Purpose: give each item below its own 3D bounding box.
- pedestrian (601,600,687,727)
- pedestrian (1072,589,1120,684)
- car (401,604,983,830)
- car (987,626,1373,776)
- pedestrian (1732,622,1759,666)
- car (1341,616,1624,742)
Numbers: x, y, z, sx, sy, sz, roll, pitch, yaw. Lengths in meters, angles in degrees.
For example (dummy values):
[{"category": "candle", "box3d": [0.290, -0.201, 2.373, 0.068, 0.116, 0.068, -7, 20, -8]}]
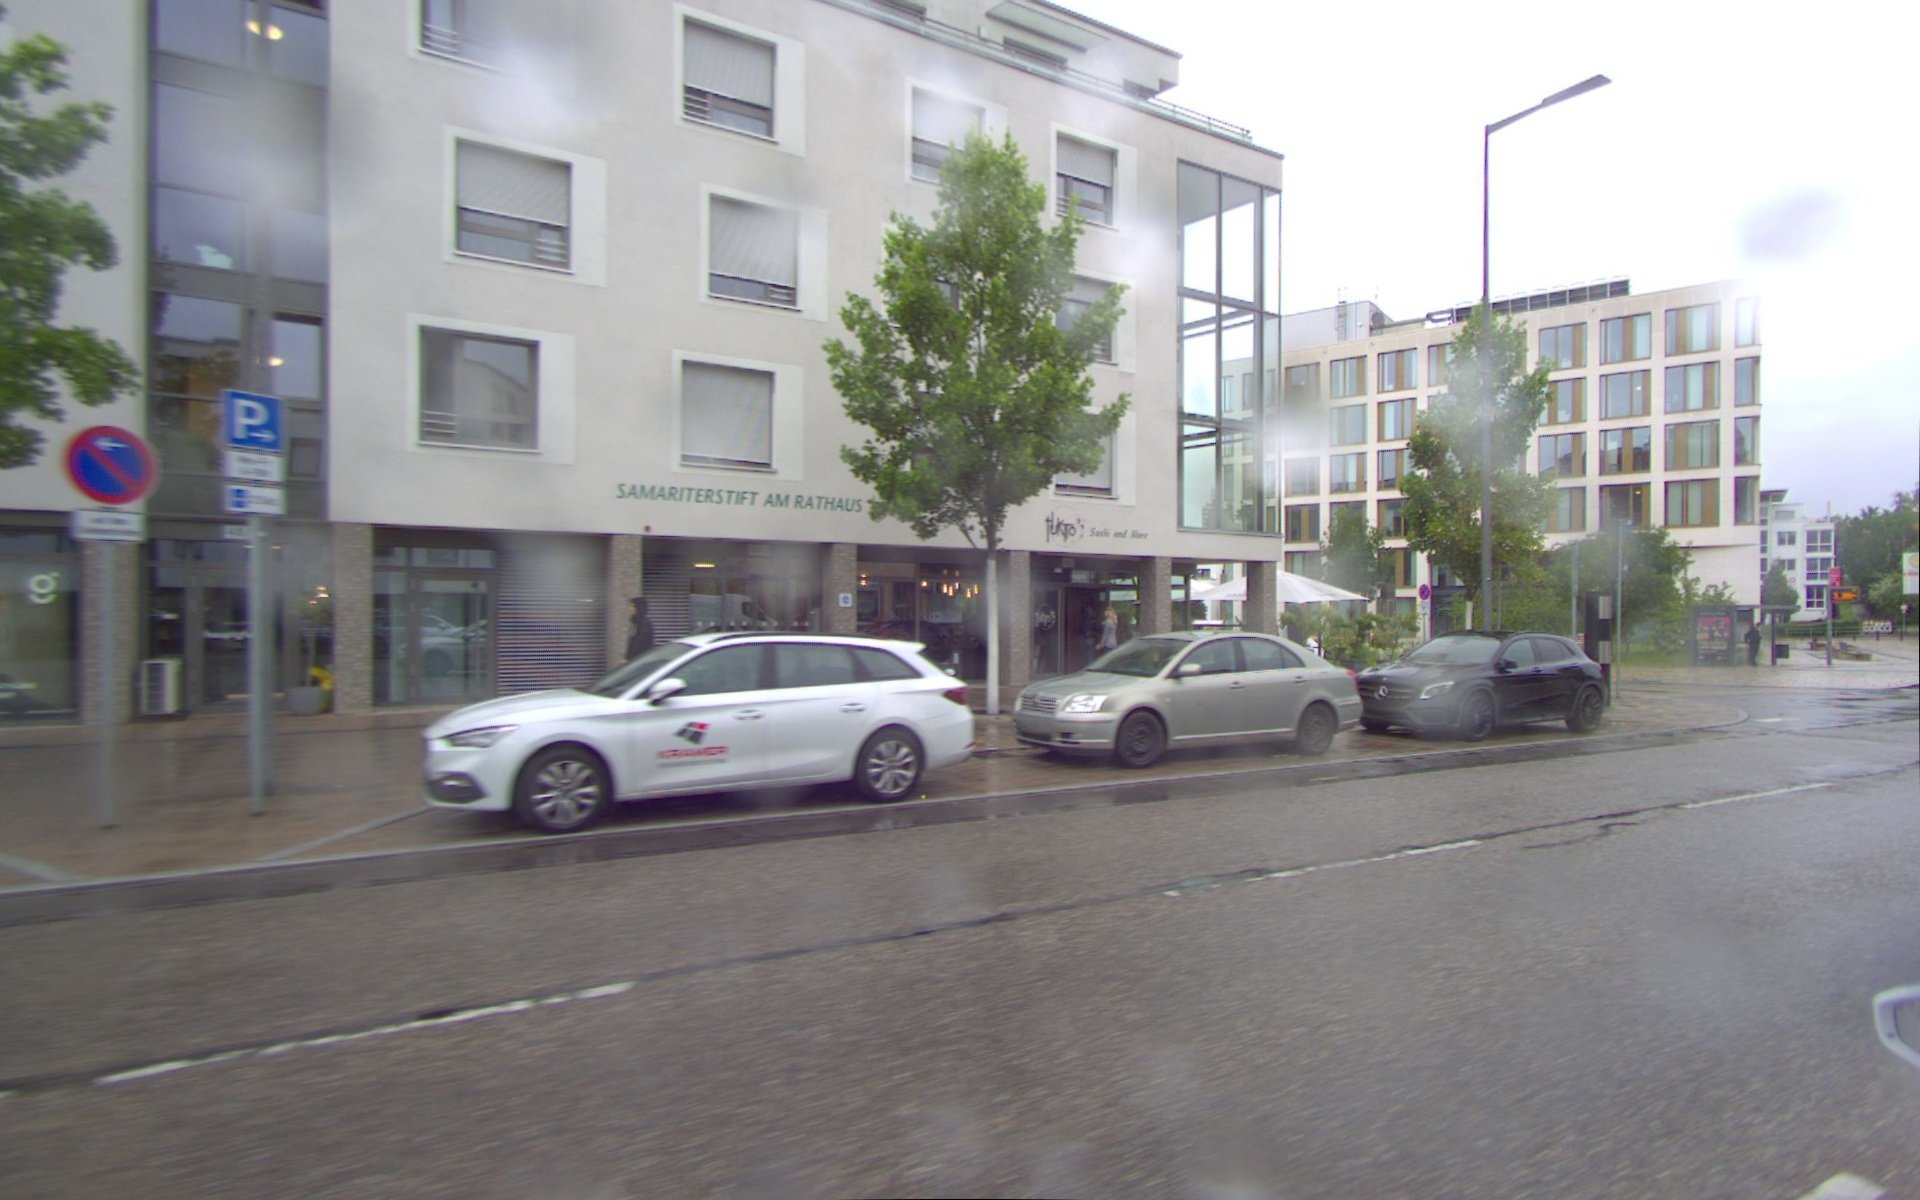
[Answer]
[{"category": "pedestrian", "box3d": [-4.579, 0.909, 14.553, 0.992, 1.761, 0.805, 3, -2, -31]}, {"category": "pedestrian", "box3d": [3.201, 0.852, 23.590, 0.744, 2.173, 0.761, 3, -1, -43]}, {"category": "car", "box3d": [-2.149, 0.871, 8.541, 4.430, 1.482, 1.785, 3, -2, -32]}, {"category": "car", "box3d": [2.711, 1.144, 12.059, 4.520, 1.529, 1.685, 3, -3, -28]}, {"category": "pedestrian", "box3d": [31.583, 1.762, 40.388, 0.669, 1.768, 0.775, 3, -3, -44]}, {"category": "car", "box3d": [7.686, 1.061, 14.655, 4.418, 1.603, 1.580, 1, -2, -31]}]
